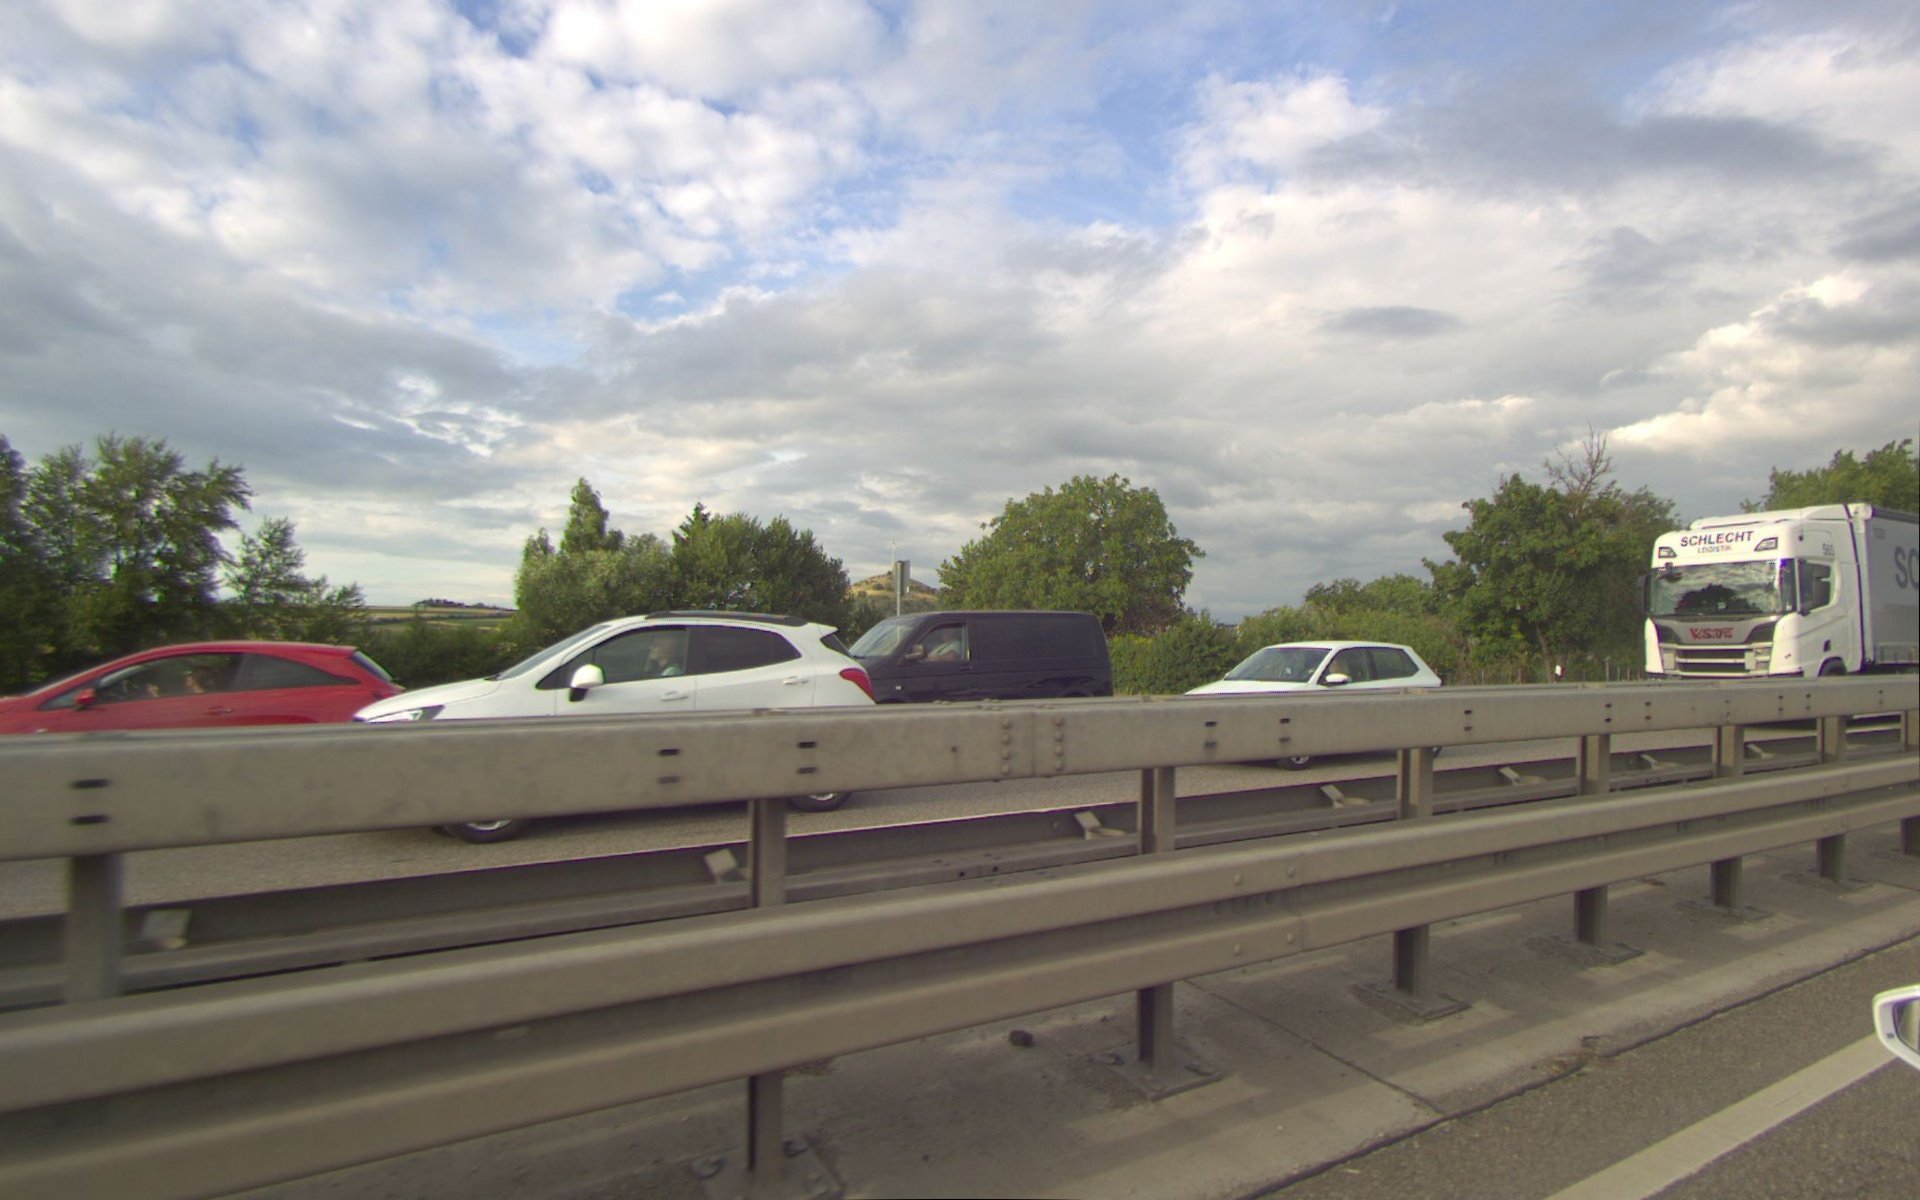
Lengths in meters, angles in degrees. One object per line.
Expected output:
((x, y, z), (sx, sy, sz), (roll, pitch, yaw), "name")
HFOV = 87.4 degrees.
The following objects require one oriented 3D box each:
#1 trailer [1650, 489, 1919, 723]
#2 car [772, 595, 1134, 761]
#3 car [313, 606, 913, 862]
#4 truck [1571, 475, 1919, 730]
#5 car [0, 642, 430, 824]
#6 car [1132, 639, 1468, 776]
((21.269, 0.352, 23.070), (13.756, 4.204, 3.449), (2, -4, -31), "trailer")
((-0.031, 1.077, 14.468), (4.889, 2.040, 1.984), (2, -4, -31), "car")
((-2.742, 0.931, 8.382), (4.354, 1.631, 1.898), (1, -3, -31), "car")
((15.357, 0.196, 19.539), (5.980, 4.204, 3.458), (1, -4, -31), "truck")
((-7.473, 1.153, 9.637), (4.136, 1.484, 1.898), (1, -3, -31), "car")
((4.312, 1.232, 12.617), (4.113, 1.463, 1.780), (1, -3, -31), "car")
